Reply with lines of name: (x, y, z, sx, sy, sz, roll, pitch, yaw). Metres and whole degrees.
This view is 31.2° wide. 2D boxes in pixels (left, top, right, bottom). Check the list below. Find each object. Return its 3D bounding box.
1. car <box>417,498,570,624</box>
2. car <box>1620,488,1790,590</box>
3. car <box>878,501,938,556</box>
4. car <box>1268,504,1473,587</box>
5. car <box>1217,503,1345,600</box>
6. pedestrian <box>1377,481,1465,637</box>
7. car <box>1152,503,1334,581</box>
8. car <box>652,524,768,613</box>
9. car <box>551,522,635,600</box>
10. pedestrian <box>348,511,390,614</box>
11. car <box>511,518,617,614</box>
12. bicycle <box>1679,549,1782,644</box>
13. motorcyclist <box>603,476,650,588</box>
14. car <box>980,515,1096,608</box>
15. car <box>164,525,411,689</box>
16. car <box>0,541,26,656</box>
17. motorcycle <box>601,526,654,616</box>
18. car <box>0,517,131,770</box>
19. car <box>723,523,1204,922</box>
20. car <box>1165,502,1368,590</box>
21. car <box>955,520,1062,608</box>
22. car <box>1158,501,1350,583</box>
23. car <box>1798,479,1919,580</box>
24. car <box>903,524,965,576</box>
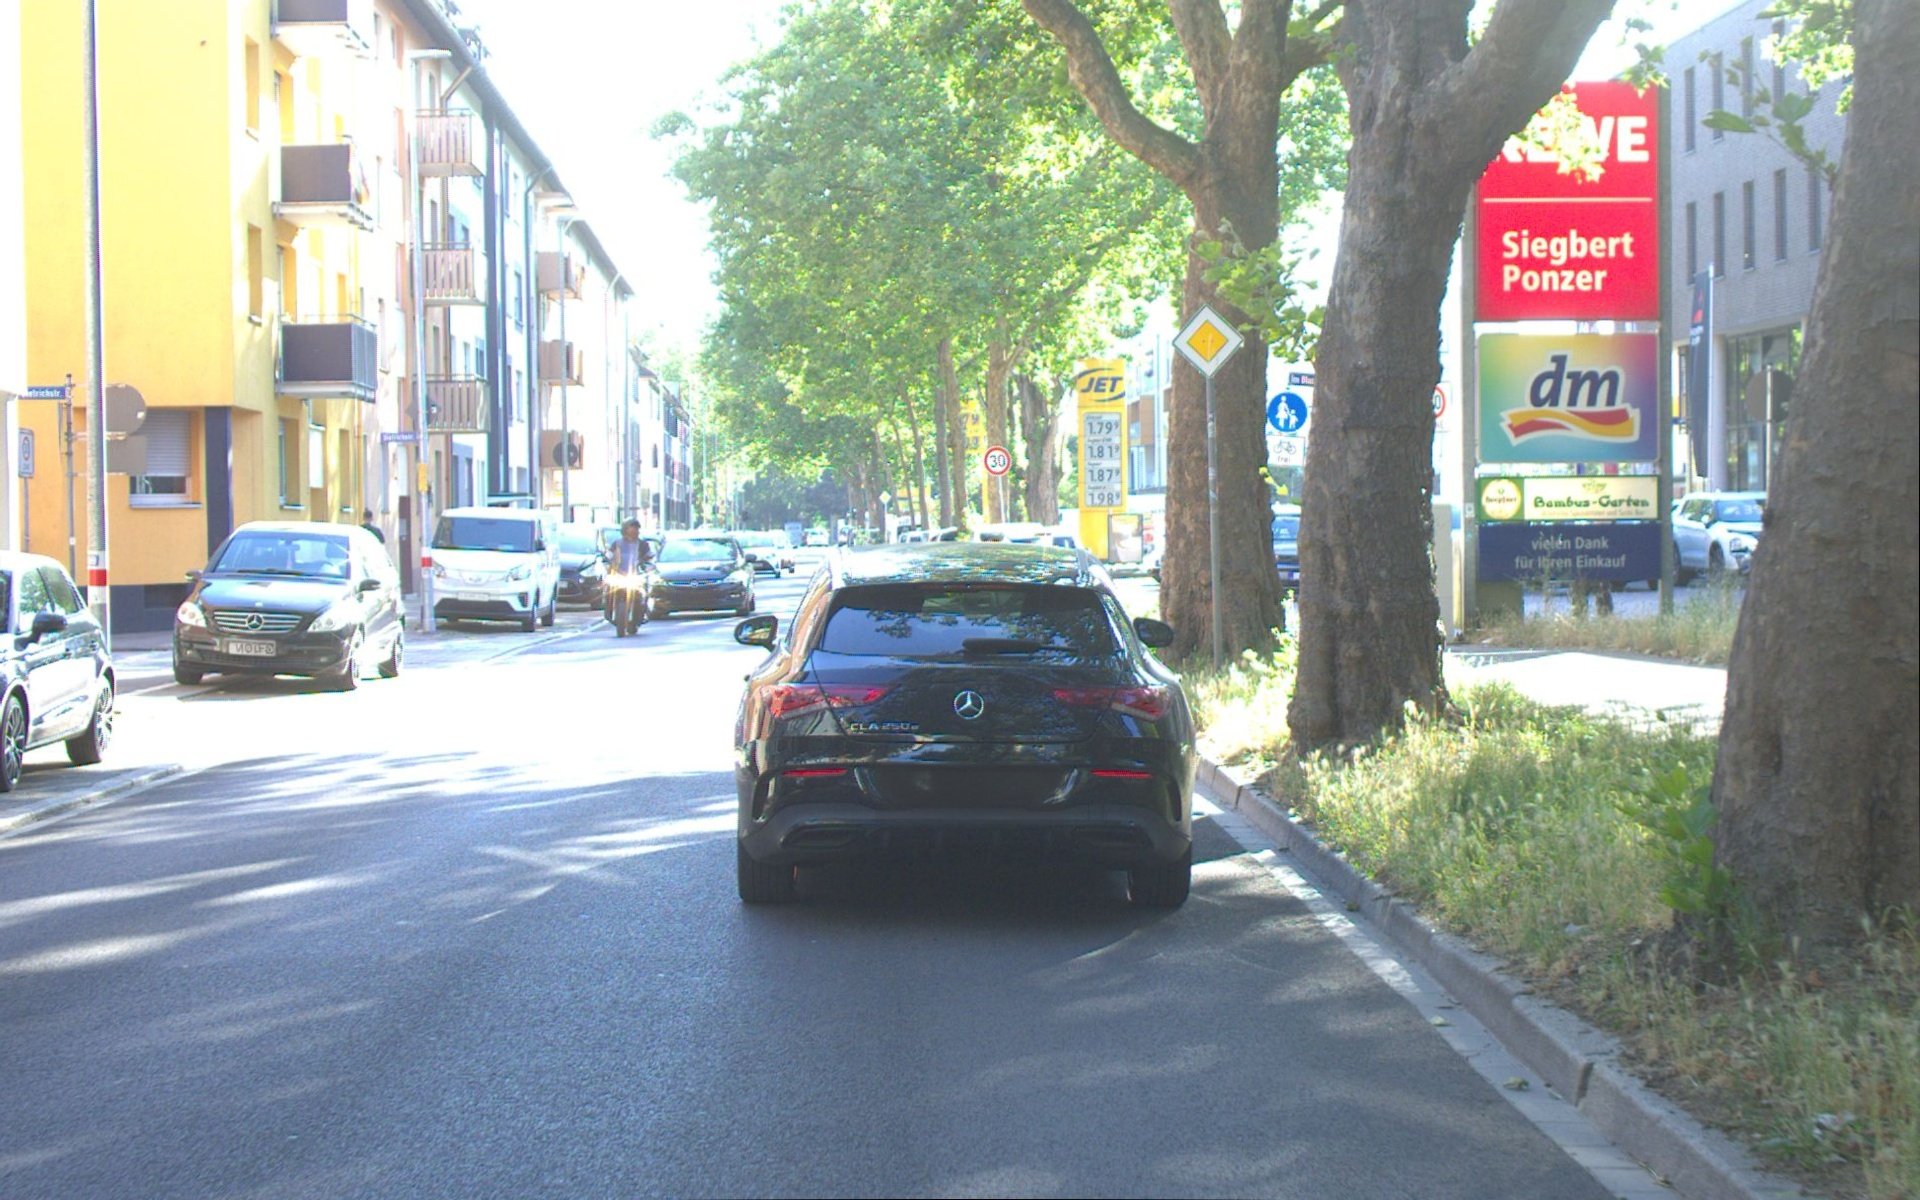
car: (-7.378, -0.652, 54.783, 1.734, 1.900, 5.209, 0, 1, 0)
car: (13.335, -1.105, 61.767, 1.875, 1.727, 4.181, -1, 1, -4)
car: (-2.016, -2.714, 131.832, 1.993, 2.007, 4.001, 0, 0, -5)
car: (8.009, -1.068, 66.969, 3.807, 1.540, 1.662, -2, 2, -35)
car: (5.751, -0.890, 61.945, 1.752, 1.664, 4.159, -1, 1, -2)
pedestrian: (5.311, -0.474, 39.653, 0.767, 1.755, 0.664, -3, 1, -11)
car: (6.238, -1.289, 75.689, 3.808, 1.573, 1.746, -3, 2, -39)
car: (-4.386, -0.583, 60.820, 1.771, 1.473, 4.322, -1, 1, -1)
car: (-8.061, -0.875, 75.742, 1.596, 1.635, 4.413, 1, 1, -3)
pedestrian: (-10.358, -0.659, 60.255, 0.587, 1.784, 0.642, -1, 1, -1)
car: (-7.707, -0.696, 67.231, 1.745, 1.781, 4.550, 1, 1, -3)
bicycle: (8.365, -0.052, 37.354, 0.382, 1.000, 1.487, -1, 1, -18)
motorcyclist: (-4.811, -0.983, 49.627, 0.585, 1.599, 0.832, -1, 1, -2)
car: (1.303, -0.657, 58.886, 1.635, 1.463, 4.022, -2, 1, -3)
car: (-6.684, 0.025, 34.544, 1.678, 1.518, 4.021, 1, 1, 0)
car: (-14.891, 0.005, 46.911, 3.783, 1.561, 1.749, -1, 1, -1)
motorcycle: (-4.799, -0.427, 49.664, 0.547, 1.237, 2.264, -3, 1, -2)
car: (-6.490, 0.220, 21.594, 1.678, 1.481, 3.601, 1, 1, 0)
car: (-0.005, 0.408, 14.619, 1.744, 1.438, 3.969, 1, 1, -1)
car: (6.117, -1.082, 68.416, 3.808, 1.604, 1.741, -3, 2, -37)
car: (0.895, -0.691, 65.712, 1.810, 1.533, 4.583, -3, 1, -1)
car: (6.147, -1.210, 71.634, 3.808, 1.573, 1.741, -3, 2, -39)
car: (16.596, -1.280, 61.714, 1.985, 1.727, 4.181, -1, 1, -1)
car: (-0.820, -1.542, 106.384, 1.722, 1.552, 3.601, 1, 1, -3)
